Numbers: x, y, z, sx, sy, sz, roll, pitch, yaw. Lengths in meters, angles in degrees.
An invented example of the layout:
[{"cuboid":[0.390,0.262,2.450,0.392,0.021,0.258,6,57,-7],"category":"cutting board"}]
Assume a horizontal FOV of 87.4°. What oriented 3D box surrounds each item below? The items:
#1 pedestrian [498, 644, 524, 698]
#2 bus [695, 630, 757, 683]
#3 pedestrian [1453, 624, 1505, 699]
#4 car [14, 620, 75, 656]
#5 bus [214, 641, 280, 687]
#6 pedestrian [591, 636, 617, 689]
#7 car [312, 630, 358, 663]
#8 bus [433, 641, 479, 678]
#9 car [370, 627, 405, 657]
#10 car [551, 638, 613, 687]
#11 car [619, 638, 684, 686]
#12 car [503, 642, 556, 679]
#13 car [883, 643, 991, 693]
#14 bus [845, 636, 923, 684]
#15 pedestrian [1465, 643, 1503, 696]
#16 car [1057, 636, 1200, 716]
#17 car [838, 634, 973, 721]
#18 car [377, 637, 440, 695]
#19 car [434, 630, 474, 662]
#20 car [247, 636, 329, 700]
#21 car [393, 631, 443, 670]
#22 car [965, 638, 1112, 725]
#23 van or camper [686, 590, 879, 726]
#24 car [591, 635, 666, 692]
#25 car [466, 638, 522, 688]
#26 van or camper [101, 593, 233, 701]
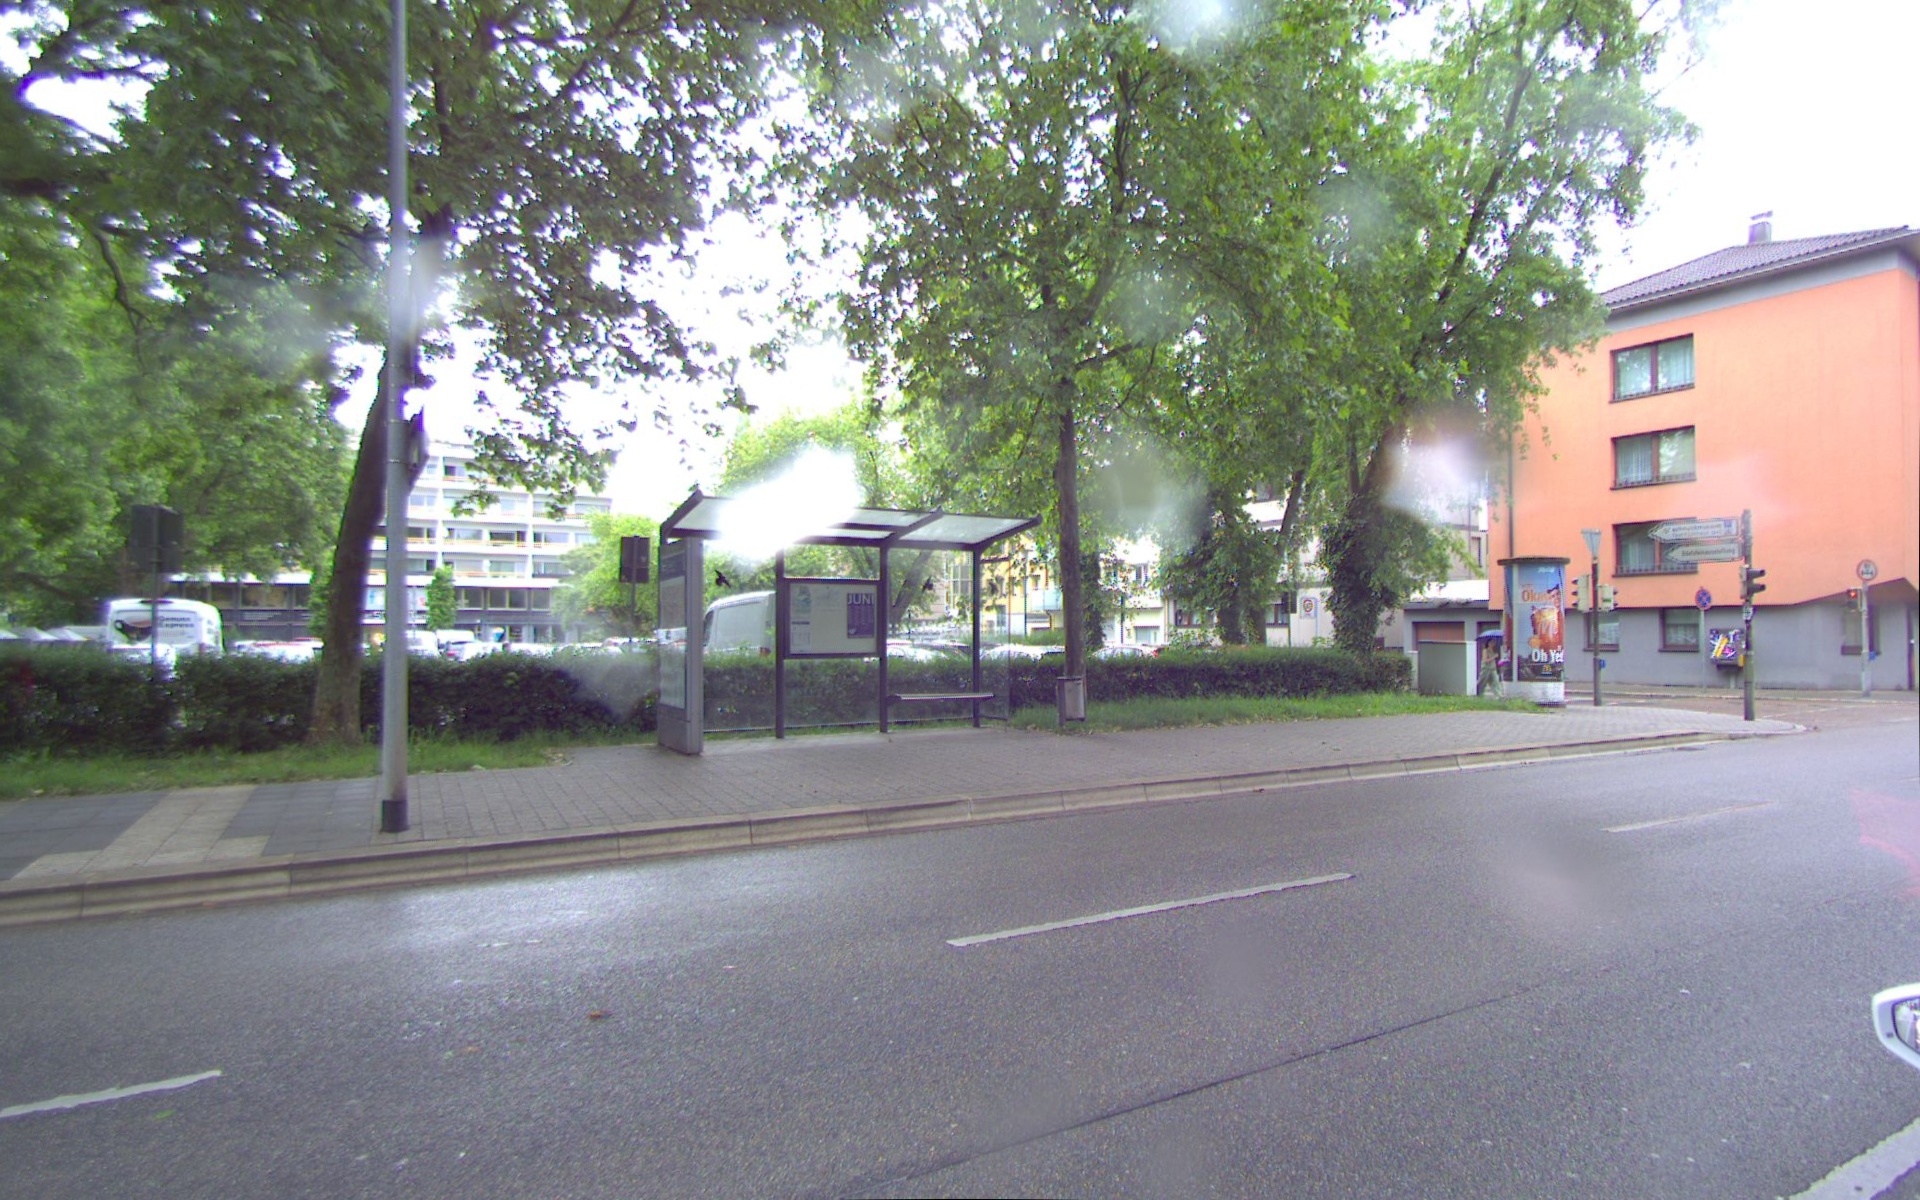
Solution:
[{"cuboid":[-10.504,1.647,23.492,0.462,1.229,0.434,2,0,-37],"category":"pedestrian"},{"cuboid":[-7.831,1.860,33.523,1.363,1.698,2.779,1,-3,-28],"category":"bus"},{"cuboid":[12.908,1.499,25.008,0.975,1.765,1.209,1,0,20],"category":"pedestrian"},{"cuboid":[-40.912,1.686,44.934,1.412,1.447,2.941,1,0,-30],"category":"car"},{"cuboid":[-25.540,2.269,36.059,1.587,1.559,3.403,2,-3,-30],"category":"bus"},{"cuboid":[-8.537,1.489,24.104,0.462,1.229,0.434,2,0,-37],"category":"pedestrian"},{"cuboid":[-31.422,2.307,50.585,1.818,1.444,3.799,2,0,-31],"category":"car"},{"cuboid":[-22.373,2.605,44.572,1.587,1.559,3.403,2,-3,-30],"category":"bus"},{"cuboid":[-33.044,2.393,57.916,1.622,1.544,3.174,1,1,-32],"category":"car"},{"cuboid":[-11.959,1.937,31.682,1.375,1.454,3.248,1,-3,-29],"category":"car"},{"cuboid":[-9.994,1.973,32.474,1.375,1.454,3.248,1,-3,-29],"category":"car"},{"cuboid":[-17.697,2.448,41.238,1.587,1.447,3.293,2,-3,-30],"category":"car"},{"cuboid":[-0.834,2.221,33.518,1.799,1.536,3.965,2,-3,-33],"category":"car"},{"cuboid":[-2.396,1.855,31.433,1.364,1.451,2.777,1,-3,-30],"category":"bus"},{"cuboid":[12.540,1.657,24.041,0.673,1.190,0.826,1,0,20],"category":"pedestrian"},{"cuboid":[3.803,1.680,23.041,1.492,1.544,3.174,2,0,-32],"category":"car"},{"cuboid":[-1.213,1.571,21.187,1.492,1.544,3.174,2,0,-32],"category":"car"},{"cuboid":[-14.734,1.732,26.851,1.375,1.454,3.248,1,-3,-29],"category":"car"},{"cuboid":[-27.281,2.448,54.082,1.622,1.544,3.174,2,0,-32],"category":"car"},{"cuboid":[-16.512,1.644,24.790,1.375,1.454,3.248,1,-3,-29],"category":"car"},{"cuboid":[-20.902,1.941,38.688,1.587,1.447,3.293,2,-3,-30],"category":"car"},{"cuboid":[1.582,1.656,21.171,1.492,1.544,3.174,2,0,-32],"category":"car"},{"cuboid":[-3.431,1.054,18.693,2.026,2.198,4.458,2,-3,-32],"category":"van or camper"},{"cuboid":[-9.113,1.719,27.506,1.375,1.454,3.248,1,-3,-29],"category":"car"},{"cuboid":[-14.543,1.936,31.281,1.375,1.454,3.248,1,-3,-29],"category":"car"},{"cuboid":[-20.699,1.224,26.423,2.074,2.570,4.391,1,-3,-30],"category":"van or camper"}]
